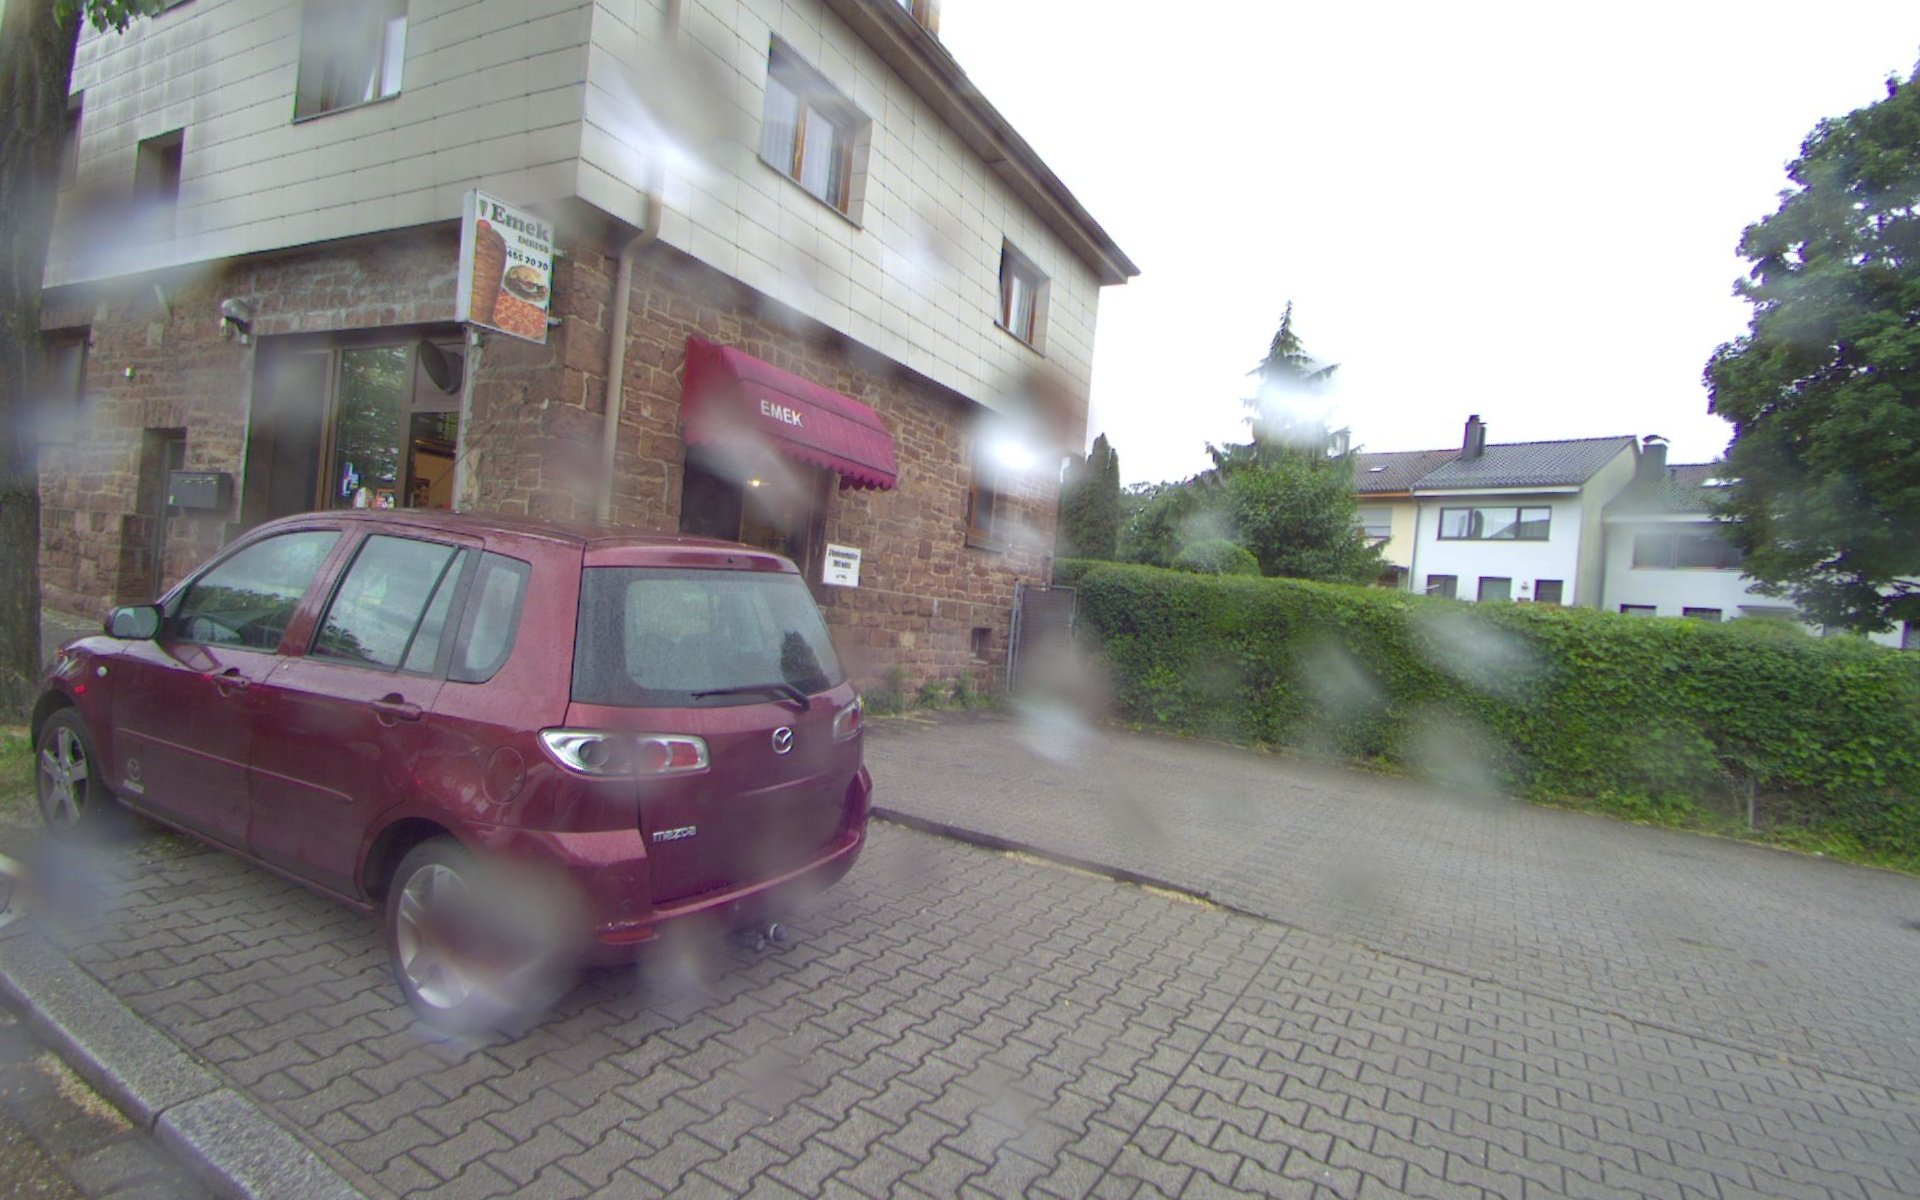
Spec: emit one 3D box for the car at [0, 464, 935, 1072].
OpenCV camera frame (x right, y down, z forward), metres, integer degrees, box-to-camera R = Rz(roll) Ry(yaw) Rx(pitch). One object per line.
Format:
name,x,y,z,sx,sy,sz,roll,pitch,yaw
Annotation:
car,-2.160,0.374,4.133,3.692,1.521,1.614,5,-3,29

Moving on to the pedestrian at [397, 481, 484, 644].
pedestrian,-5.591,-0.396,10.834,0.447,1.679,0.493,7,-1,31
